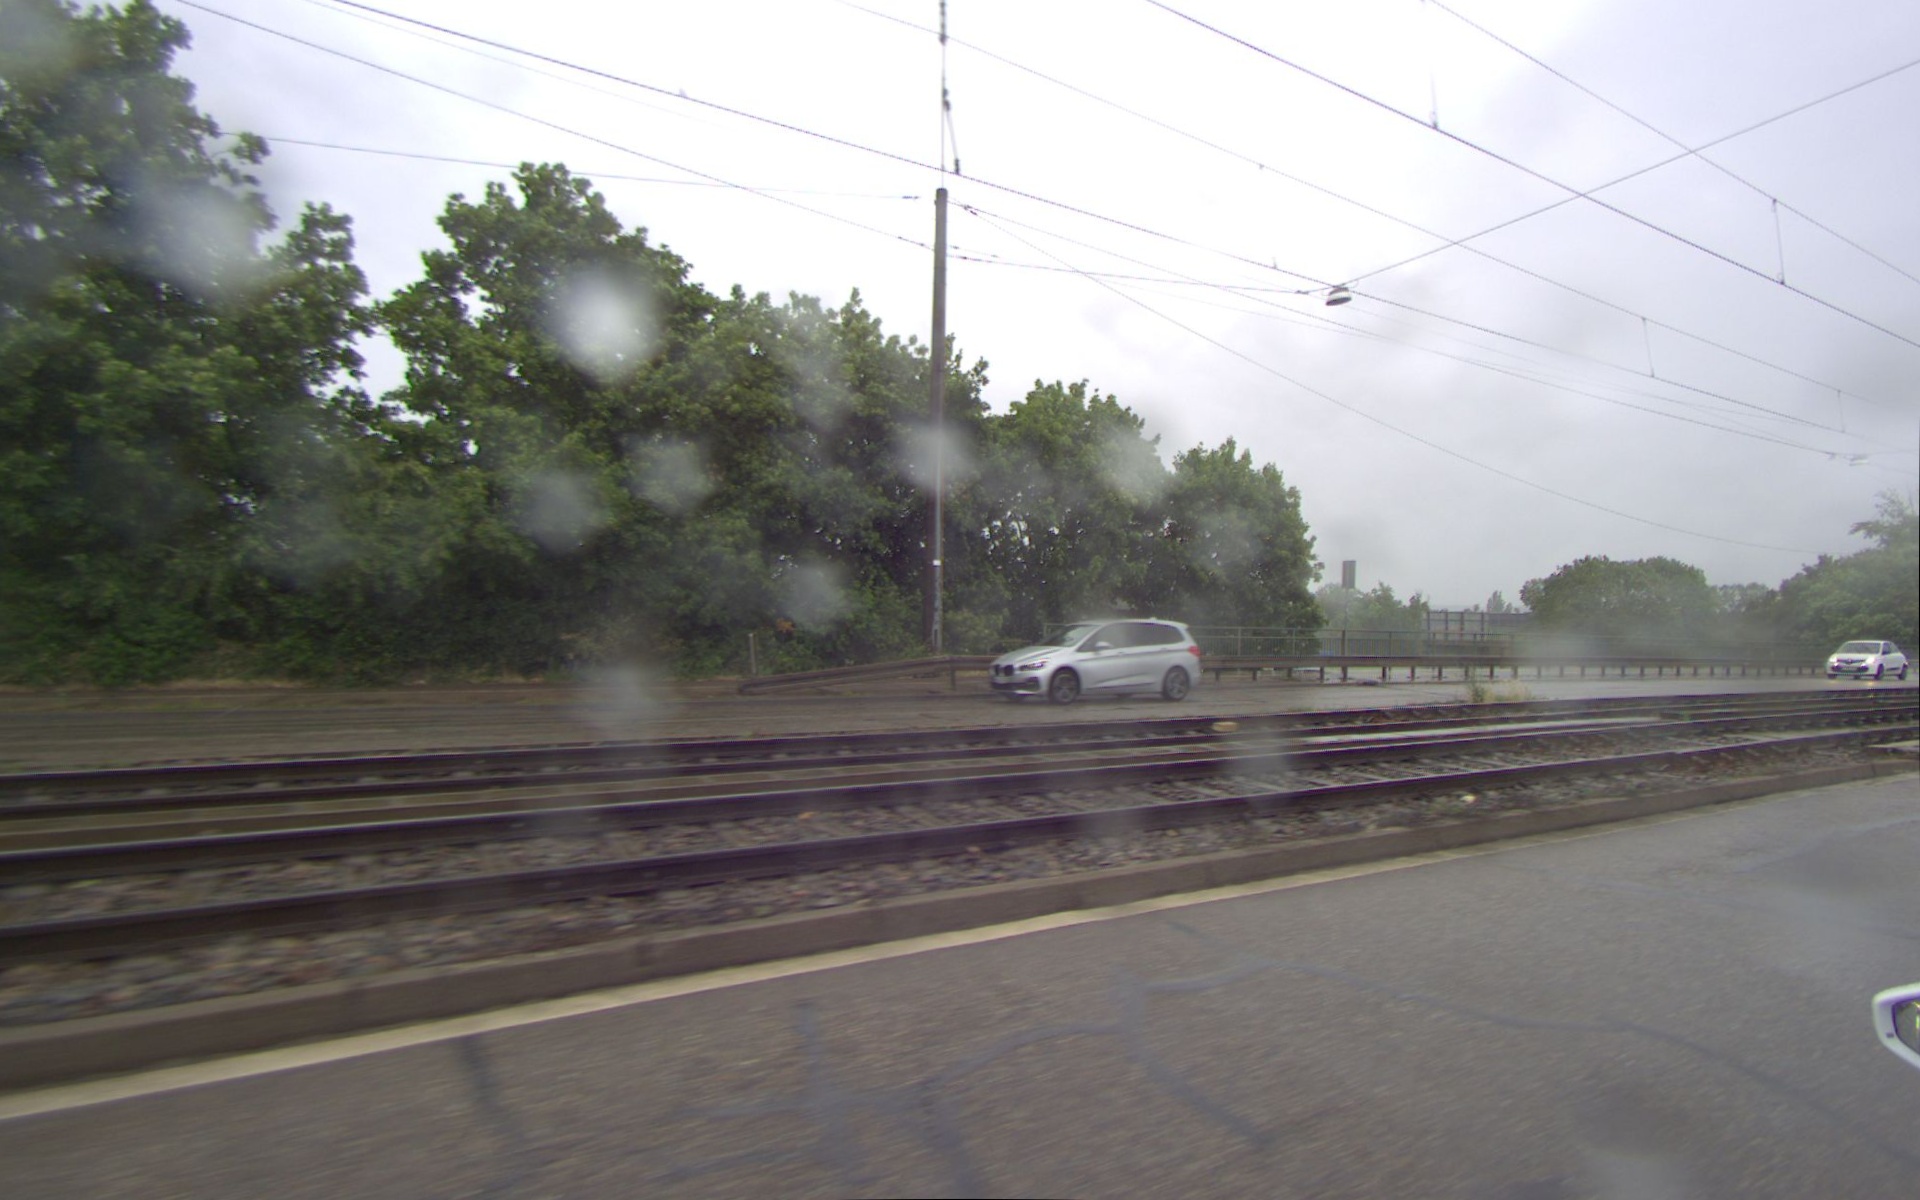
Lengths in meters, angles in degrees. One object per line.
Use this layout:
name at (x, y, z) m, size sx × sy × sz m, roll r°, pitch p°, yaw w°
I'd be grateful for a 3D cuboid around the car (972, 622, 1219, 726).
car at (2.707, 1.413, 19.758) m, size 4.607 × 1.734 × 1.824 m, roll 2°, pitch 2°, yaw -30°

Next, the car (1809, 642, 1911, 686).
car at (36.387, 2.585, 40.591) m, size 3.953 × 1.638 × 1.984 m, roll 2°, pitch -2°, yaw -30°
